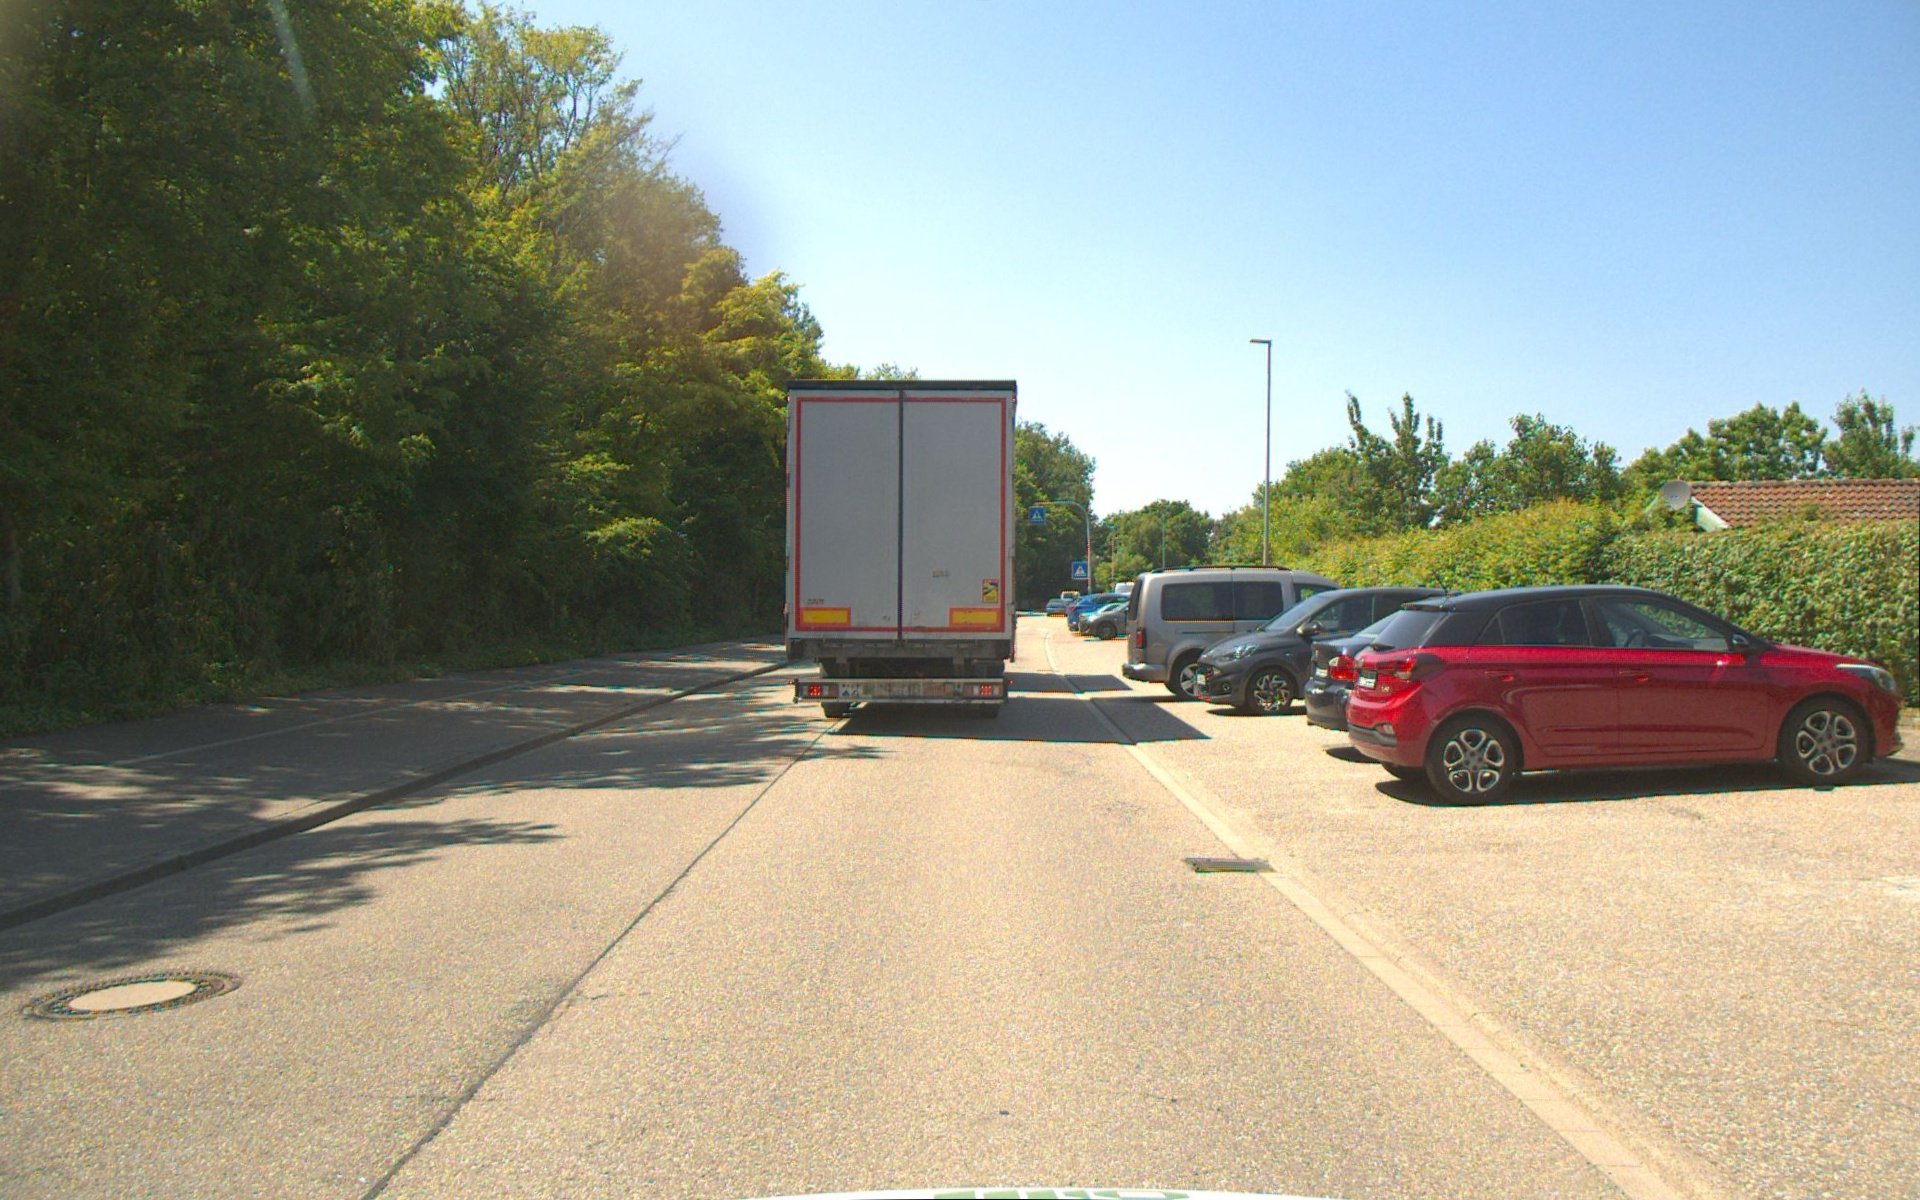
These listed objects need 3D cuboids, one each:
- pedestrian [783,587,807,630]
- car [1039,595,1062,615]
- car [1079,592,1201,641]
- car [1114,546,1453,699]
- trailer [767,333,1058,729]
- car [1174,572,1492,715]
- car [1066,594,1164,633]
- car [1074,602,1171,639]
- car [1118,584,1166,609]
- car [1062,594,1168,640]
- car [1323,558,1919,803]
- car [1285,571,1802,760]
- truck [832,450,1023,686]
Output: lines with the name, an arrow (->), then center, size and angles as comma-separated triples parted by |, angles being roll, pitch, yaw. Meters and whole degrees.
pedestrian -> -6.545, 0.327, 65.638 | 0.811, 1.651, 0.783 | 2, 0, 1
car -> 7.357, 0.401, 134.238 | 1.744, 1.512, 4.001 | 1, 0, 2
car -> 6.240, 0.578, 57.764 | 4.077, 1.521, 1.883 | -2, -1, 2
car -> 4.640, 0.309, 24.250 | 4.526, 1.880, 1.996 | -3, 0, 1
trailer -> -0.502, -0.738, 23.380 | 3.049, 4.174, 11.536 | 1, 0, 0
car -> 4.686, 0.519, 21.078 | 3.506, 1.528, 1.840 | -3, 0, -5
car -> 6.788, 0.604, 72.749 | 4.148, 1.683, 1.900 | 0, -2, 2
car -> 6.247, 0.786, 63.752 | 3.656, 1.290, 1.628 | -2, -1, 4
car -> 15.099, -0.282, 137.311 | 3.872, 1.830, 1.814 | -2, -3, 6
car -> 6.218, 0.679, 66.708 | 4.150, 1.662, 1.823 | -2, 0, 2
car -> 4.907, 0.559, 12.556 | 3.839, 1.504, 1.845 | -3, 0, 0
car -> 5.300, 0.566, 15.413 | 4.118, 1.412, 1.840 | -3, 0, -1
truck -> -0.502, -0.525, 30.141 | 3.050, 3.790, 6.414 | 1, 0, 0
